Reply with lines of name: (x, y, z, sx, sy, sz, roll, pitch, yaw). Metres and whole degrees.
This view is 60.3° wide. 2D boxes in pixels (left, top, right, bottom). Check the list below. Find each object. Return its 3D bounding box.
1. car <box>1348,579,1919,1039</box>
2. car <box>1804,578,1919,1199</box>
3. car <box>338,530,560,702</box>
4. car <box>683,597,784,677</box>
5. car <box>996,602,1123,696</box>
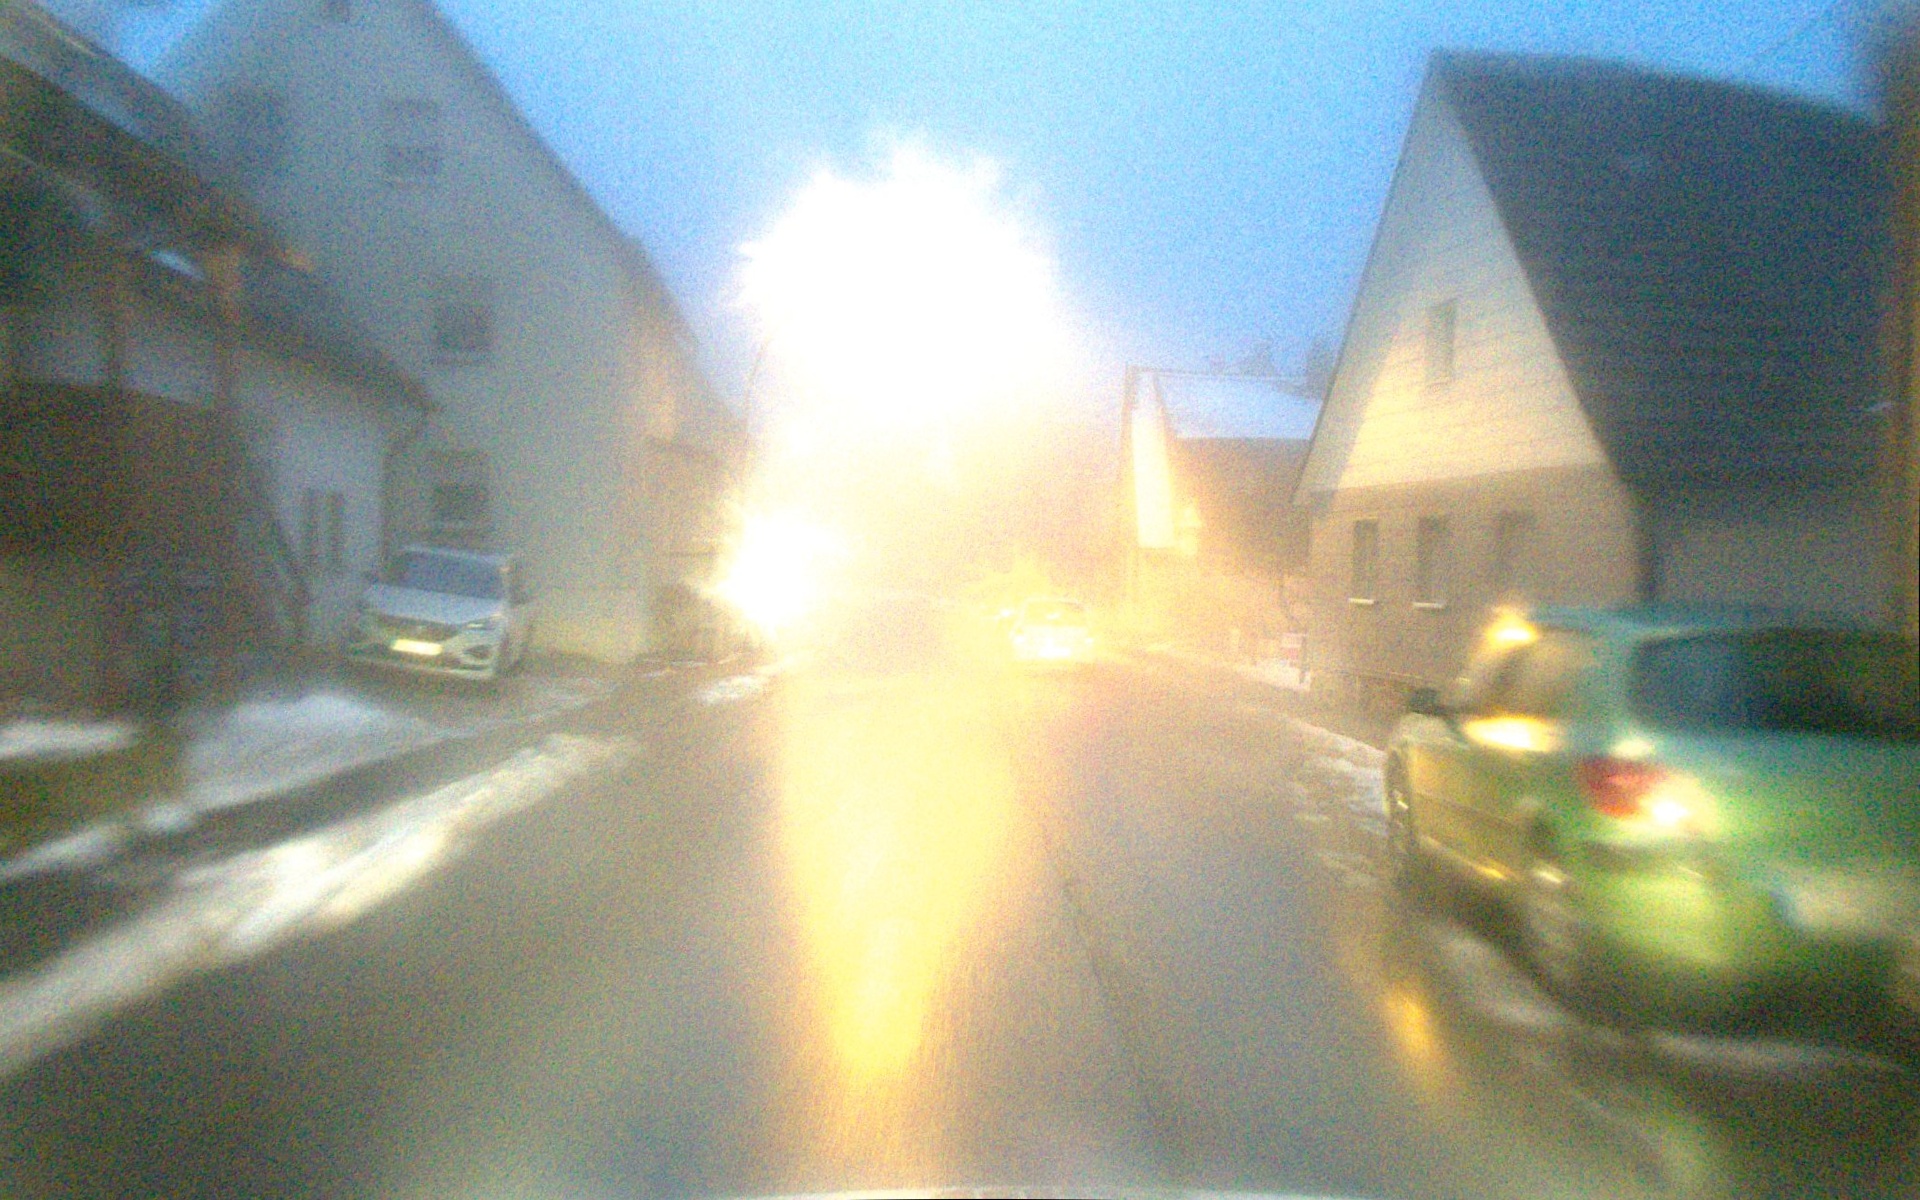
car: (3.181, 0.732, 7.682, 1.871, 1.507, 4.283, 2, -1, 2)
car: (3.017, 0.730, 2.363, 1.681, 1.526, 3.907, 3, -1, 2)
car: (-6.344, 0.183, 21.062, 1.731, 1.766, 4.632, 6, -1, -7)
car: (-5.186, 0.808, 38.337, 1.954, 1.549, 4.187, 4, 1, -4)
car: (1.808, 0.922, 31.354, 1.954, 1.534, 3.998, 4, -2, -2)
